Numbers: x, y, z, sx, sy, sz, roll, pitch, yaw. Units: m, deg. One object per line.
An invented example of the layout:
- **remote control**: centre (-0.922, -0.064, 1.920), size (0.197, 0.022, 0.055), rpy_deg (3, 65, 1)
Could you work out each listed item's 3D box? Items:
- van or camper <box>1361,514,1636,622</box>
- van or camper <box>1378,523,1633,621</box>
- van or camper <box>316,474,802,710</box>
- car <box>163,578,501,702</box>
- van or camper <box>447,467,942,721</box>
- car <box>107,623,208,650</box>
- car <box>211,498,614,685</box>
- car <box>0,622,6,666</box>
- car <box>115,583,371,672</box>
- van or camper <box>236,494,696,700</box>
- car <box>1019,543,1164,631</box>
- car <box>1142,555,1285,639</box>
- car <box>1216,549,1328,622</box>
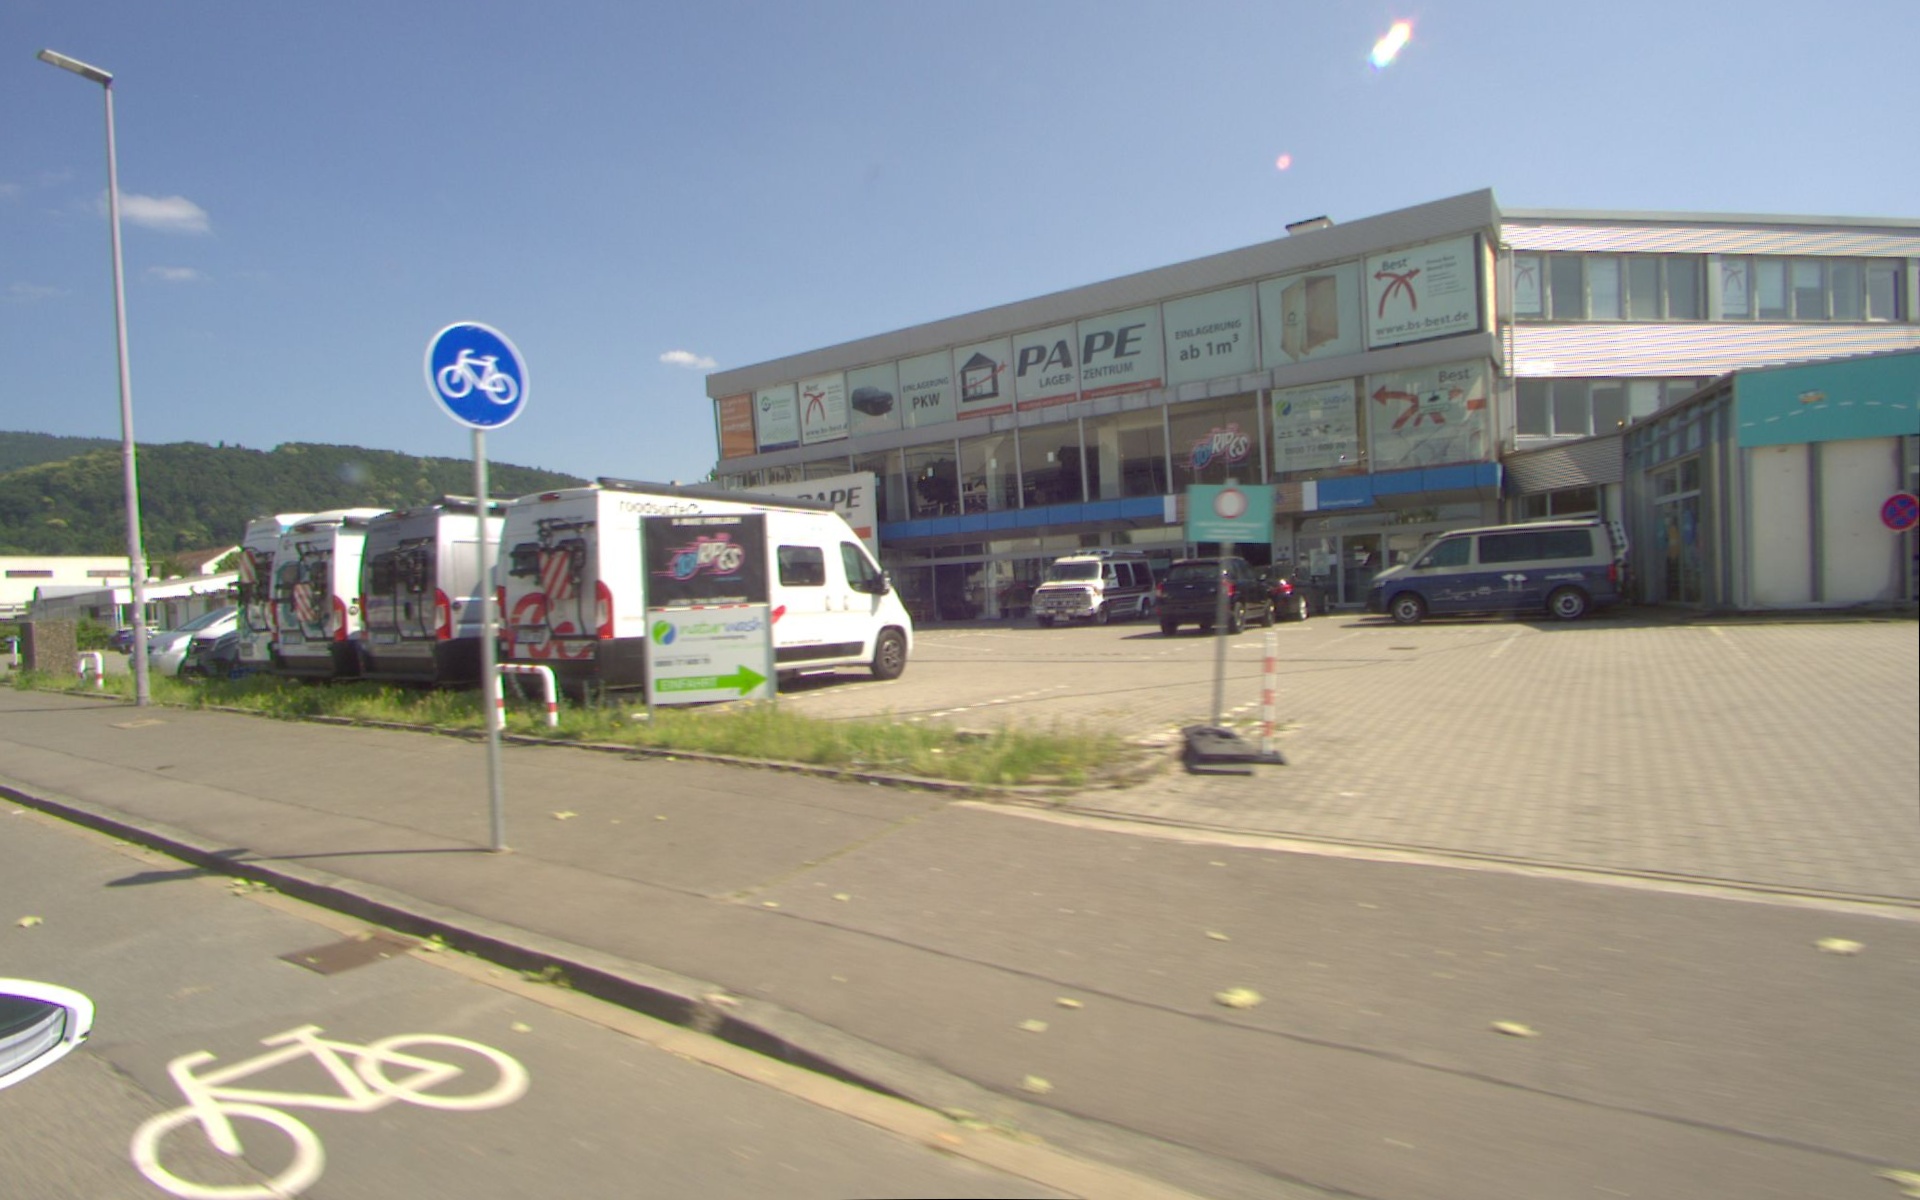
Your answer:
- **van or camper**: centre (11.336, -0.611, 21.417), size (4.944, 2.041, 1.991), rpy_deg (-1, 1, 28)
- **van or camper**: centre (12.686, -0.601, 23.578), size (5.037, 2.041, 2.114), rpy_deg (-1, 1, 29)
- **van or camper**: centre (-5.575, -0.154, 15.084), size (2.675, 2.753, 6.330), rpy_deg (-1, 1, 34)
- **car**: centre (-12.075, 0.651, 19.696), size (1.972, 1.978, 5.218), rpy_deg (-1, 2, 34)
- **van or camper**: centre (-3.086, -0.119, 13.379), size (2.583, 2.558, 6.177), rpy_deg (-1, 1, 34)
- **car**: centre (-47.628, 2.154, 59.520), size (2.093, 1.416, 4.311), rpy_deg (-1, 0, 38)
- **car**: centre (-9.857, -0.191, 18.751), size (2.288, 2.908, 6.209), rpy_deg (-1, 1, 34)
- **car**: centre (-38.512, 1.631, 36.537), size (4.954, 1.640, 2.024), rpy_deg (-1, -4, -13)
- **car**: centre (-14.715, 0.493, 20.759), size (1.773, 1.614, 3.910), rpy_deg (-1, 1, 34)
- **van or camper**: centre (-7.794, -0.091, 16.690), size (2.675, 2.736, 6.330), rpy_deg (-1, 1, 34)
- **car**: centre (4.164, -0.420, 30.846), size (2.294, 2.451, 5.281), rpy_deg (-1, 1, 34)
- **car**: centre (5.874, -0.097, 22.808), size (1.970, 1.701, 4.529), rpy_deg (-1, 1, 30)
- **car**: centre (8.413, -0.394, 26.756), size (1.970, 1.756, 4.097), rpy_deg (-1, 1, 30)
